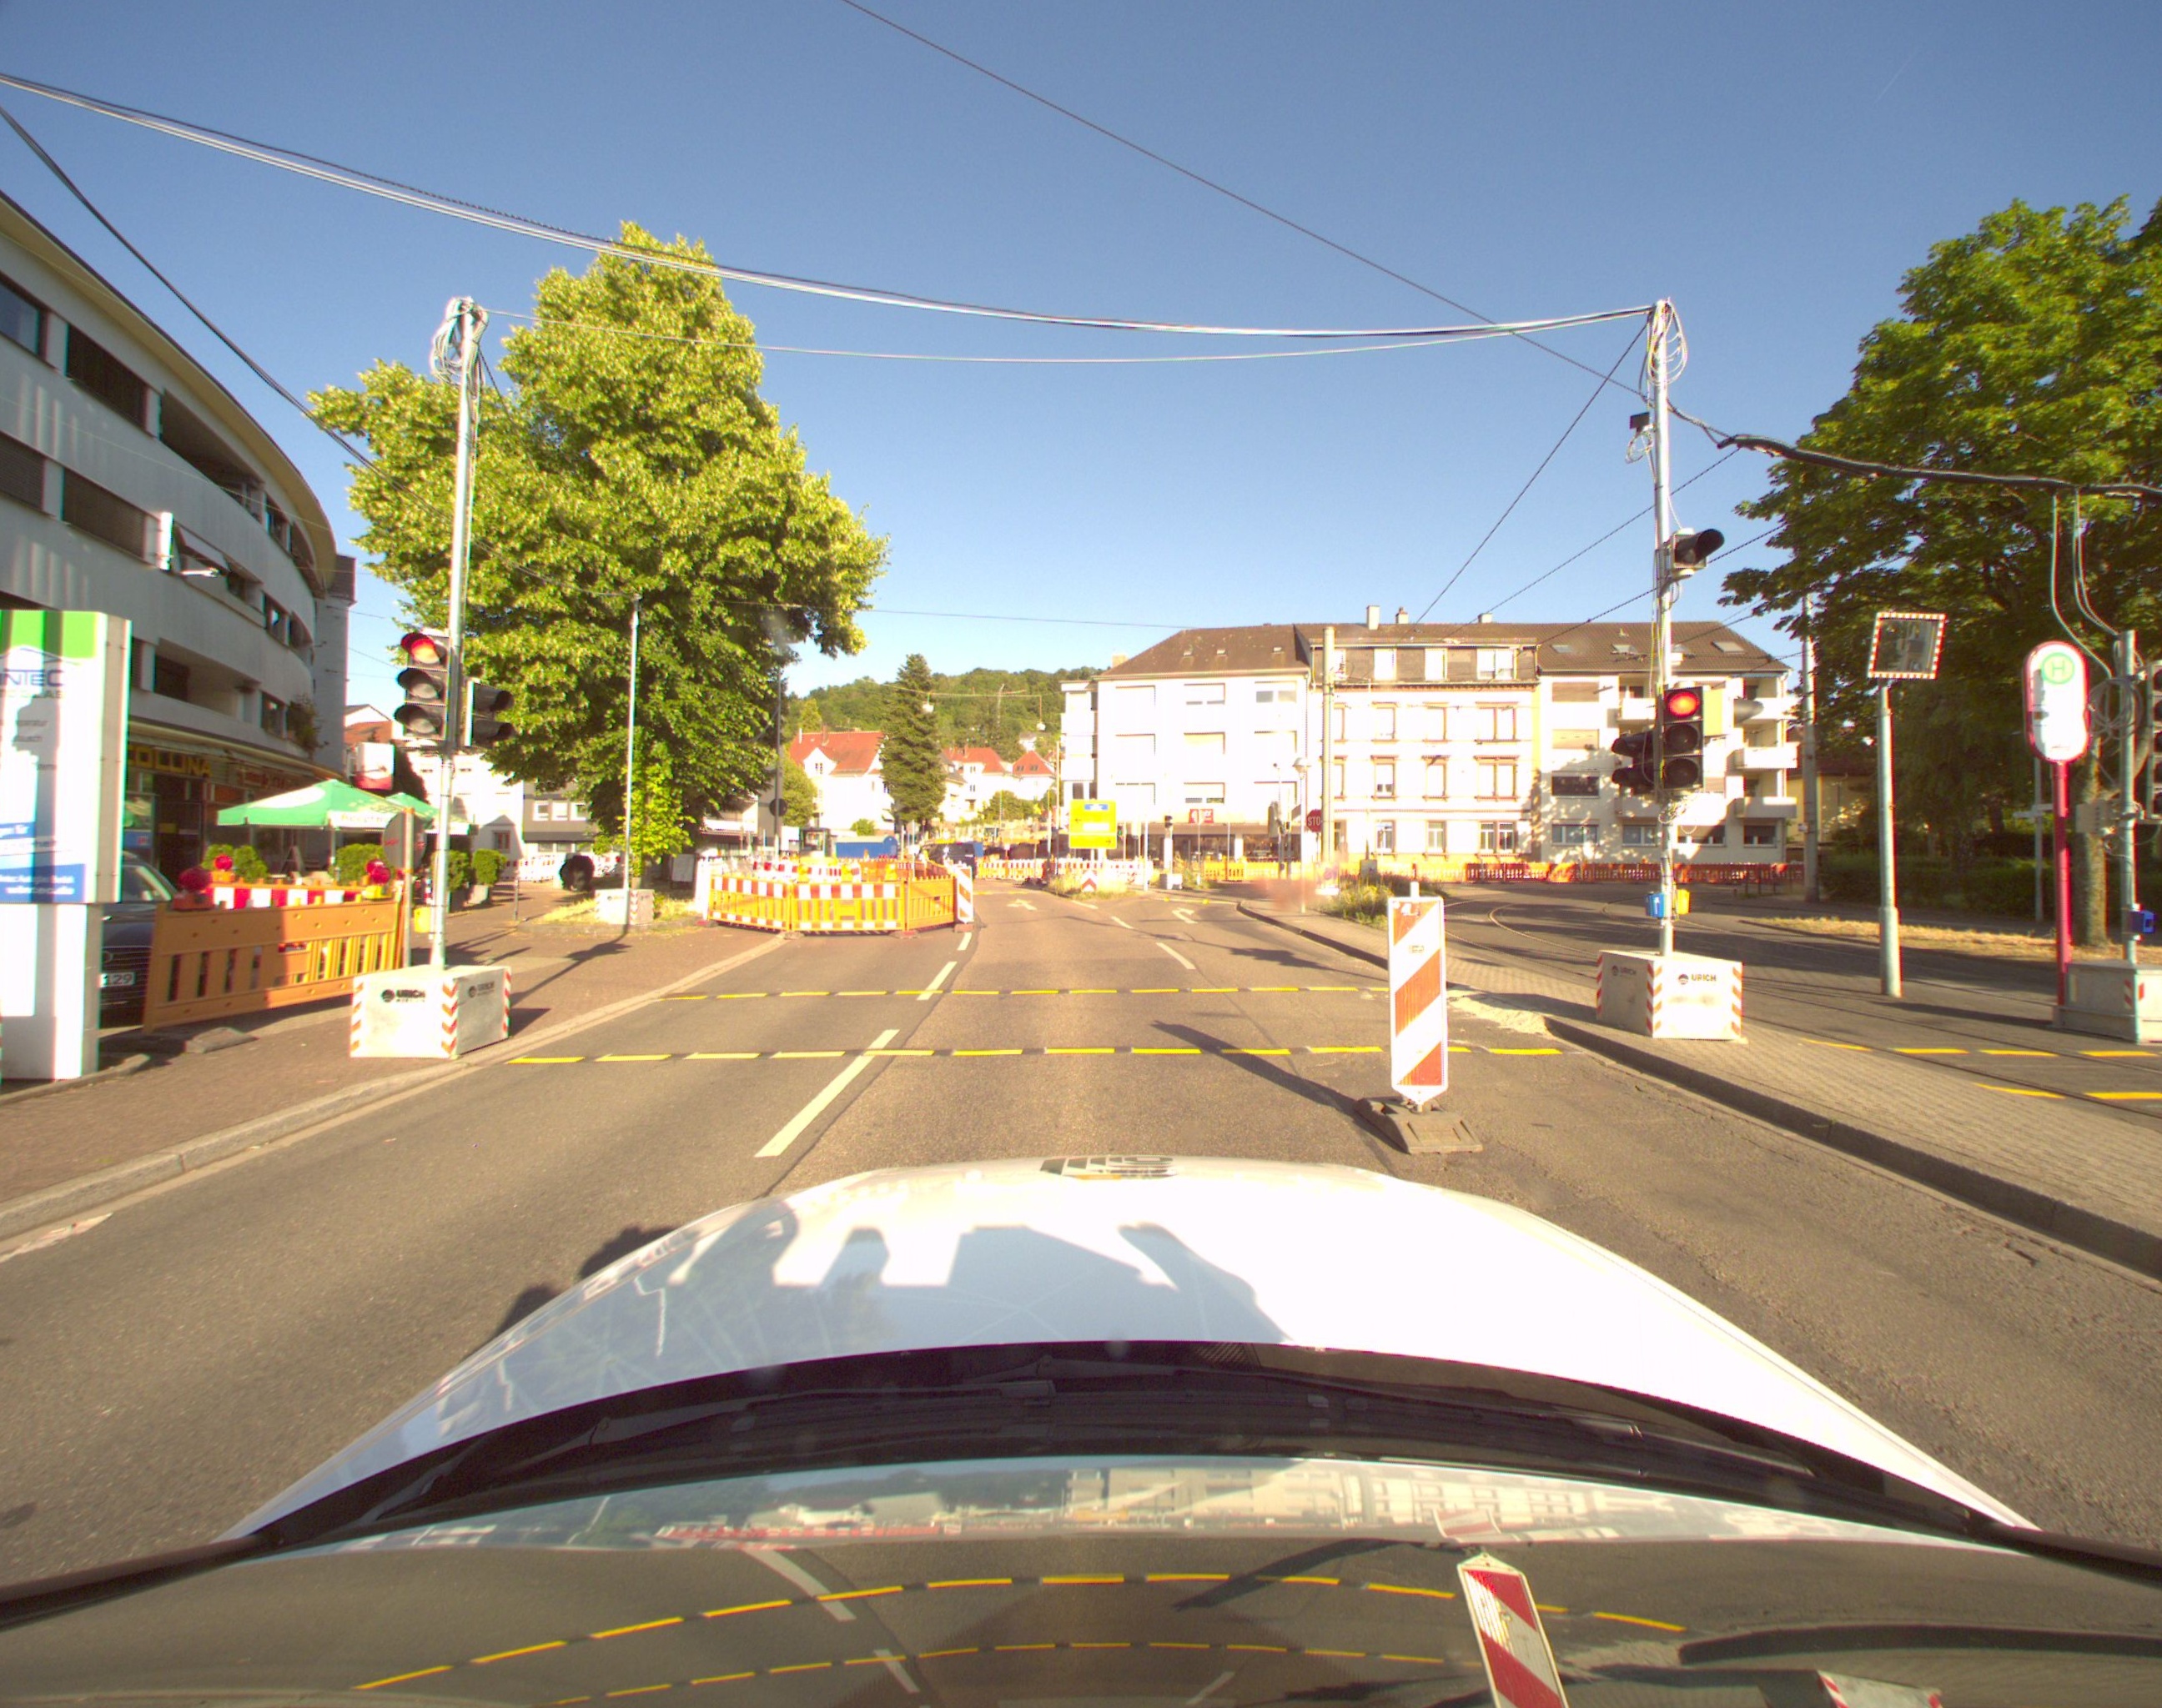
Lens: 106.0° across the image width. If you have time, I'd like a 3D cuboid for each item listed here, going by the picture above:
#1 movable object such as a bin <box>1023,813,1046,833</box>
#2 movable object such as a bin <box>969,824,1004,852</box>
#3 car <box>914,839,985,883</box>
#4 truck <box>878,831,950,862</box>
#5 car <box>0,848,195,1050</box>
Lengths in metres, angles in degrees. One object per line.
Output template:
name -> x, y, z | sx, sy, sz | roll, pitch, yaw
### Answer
movable object such as a bin -> -6.465, -4.278, 114.280 | 2.176, 2.690, 4.013 | 0, 0, 12
movable object such as a bin -> -9.249, -1.544, 79.878 | 2.176, 2.690, 4.013 | 0, 0, 12
car -> -6.756, 0.298, 41.398 | 2.074, 2.013, 4.955 | 1, 1, -28
truck -> -14.005, -0.578, 69.266 | 2.340, 2.416, 9.184 | 0, 0, 13
car -> -9.593, 0.707, 7.629 | 4.246, 1.454, 1.660 | 1, 0, 43
